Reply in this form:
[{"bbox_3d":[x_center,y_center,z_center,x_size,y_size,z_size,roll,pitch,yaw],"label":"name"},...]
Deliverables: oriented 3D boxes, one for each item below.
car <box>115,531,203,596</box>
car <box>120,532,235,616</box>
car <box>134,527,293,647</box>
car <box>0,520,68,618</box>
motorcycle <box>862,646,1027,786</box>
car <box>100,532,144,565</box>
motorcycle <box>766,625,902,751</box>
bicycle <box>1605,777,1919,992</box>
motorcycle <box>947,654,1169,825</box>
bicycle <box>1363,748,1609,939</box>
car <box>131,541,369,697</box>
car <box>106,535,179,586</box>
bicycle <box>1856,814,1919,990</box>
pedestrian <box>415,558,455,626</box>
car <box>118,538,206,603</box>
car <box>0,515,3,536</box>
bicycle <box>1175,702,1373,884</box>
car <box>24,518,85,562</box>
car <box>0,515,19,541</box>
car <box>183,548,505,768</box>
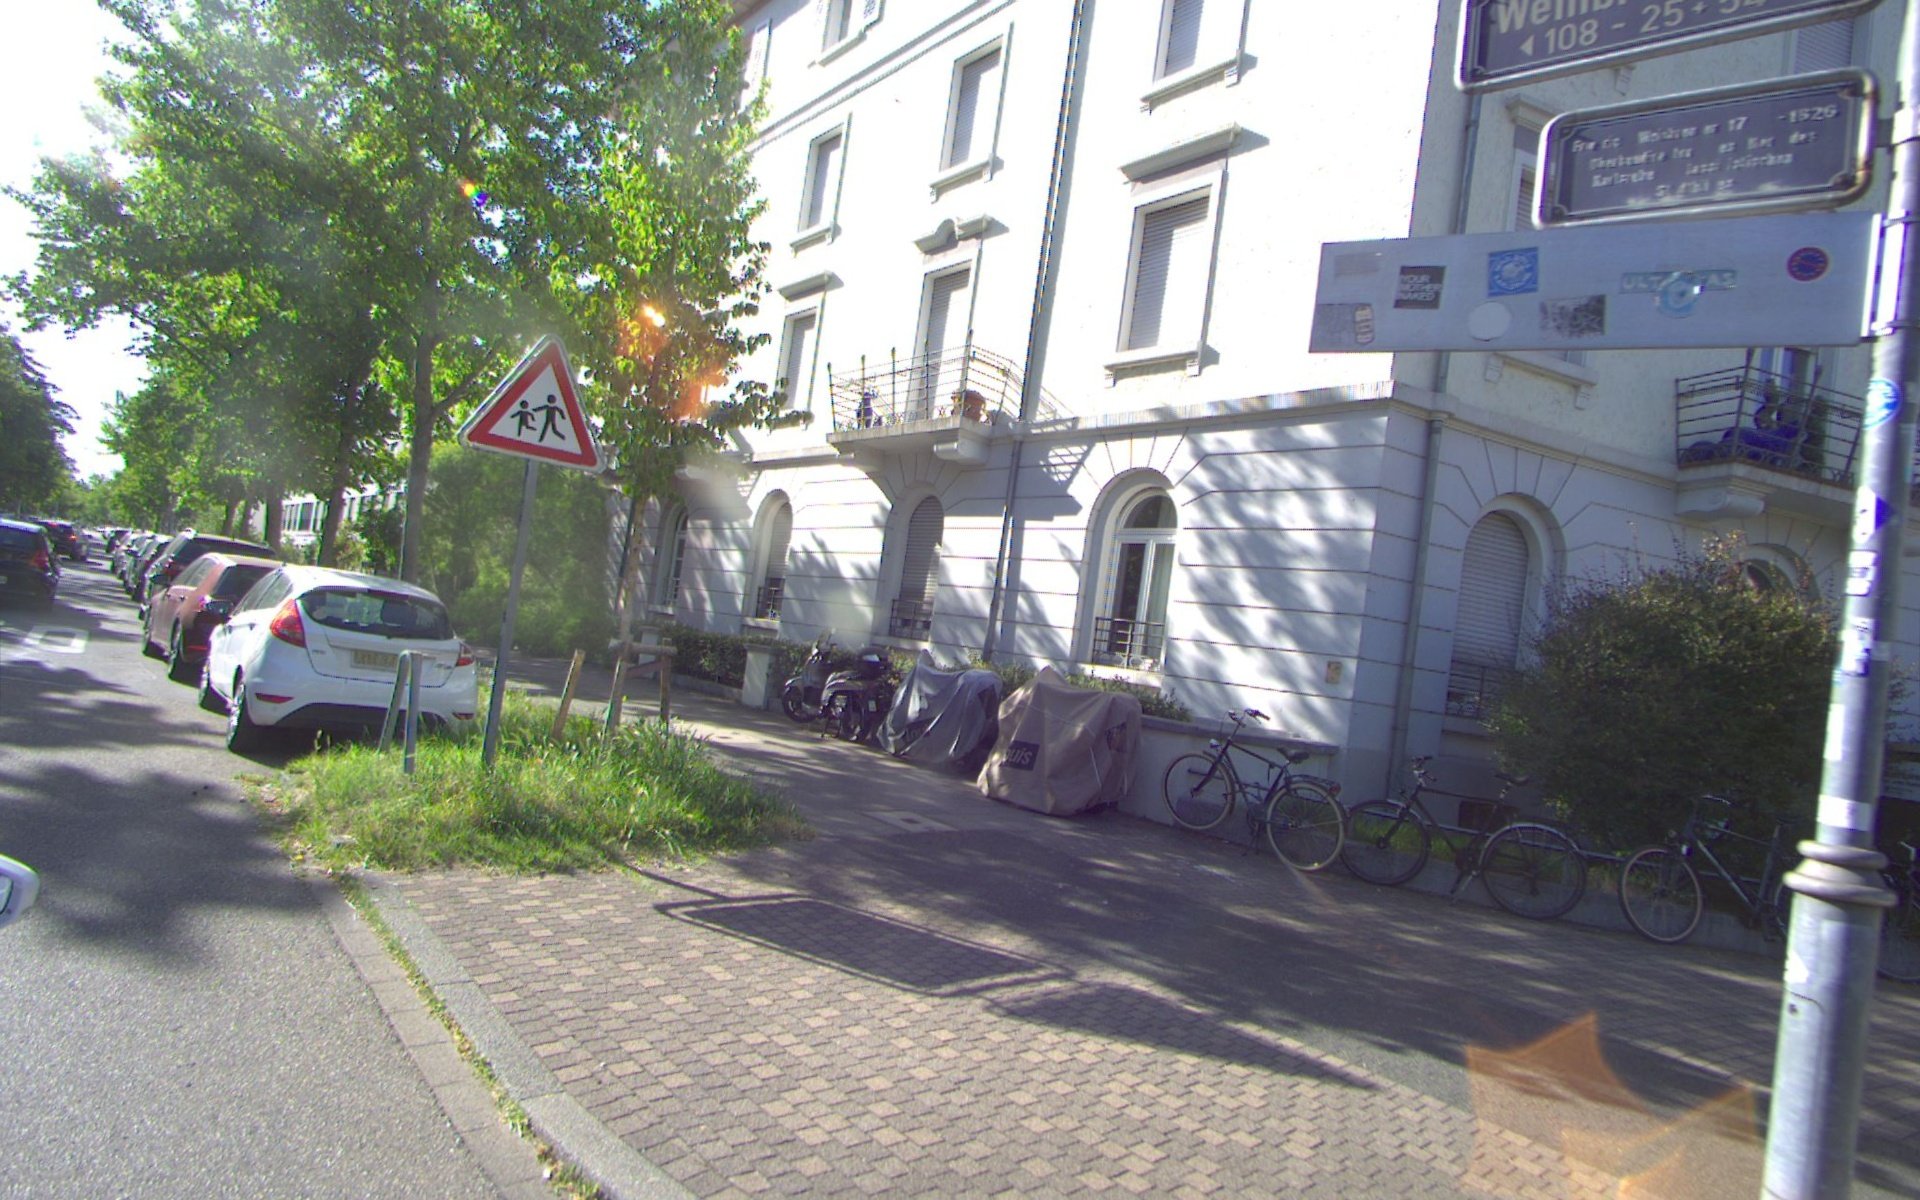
[{"bbox_3d":[-25.380,-1.187,31.815,1.646,1.673,3.799,11,-4,-44],"label":"car"},{"bbox_3d":[-19.428,-0.681,24.903,1.682,1.604,4.482,13,-6,-42],"label":"car"},{"bbox_3d":[-13.433,-0.291,17.990,1.776,1.717,4.248,10,-3,-41],"label":"car"},{"bbox_3d":[-16.130,-0.623,16.830,1.645,1.412,3.372,10,-3,-41],"label":"car"},{"bbox_3d":[-0.207,1.276,11.381,1.776,1.295,0.655,6,-1,43],"label":"motorcycle"},{"bbox_3d":[-52.638,-3.236,63.249,1.842,1.647,4.364,11,-5,-39],"label":"car"},{"bbox_3d":[-1.694,1.114,13.175,0.537,1.376,2.066,10,-3,-41],"label":"motorcycle"},{"bbox_3d":[5.744,2.013,7.231,1.746,1.161,0.445,8,-2,6],"label":"bicycle"},{"bbox_3d":[0.938,1.344,9.926,1.829,1.343,0.969,5,-4,44],"label":"motorcycle"},{"bbox_3d":[3.987,1.816,7.716,1.544,1.116,0.351,6,-2,28],"label":"bicycle"},{"bbox_3d":[-8.983,0.161,12.575,1.609,1.425,4.297,10,-4,-45],"label":"car"},{"bbox_3d":[-28.856,-1.406,35.493,1.645,1.444,3.569,10,-3,-43],"label":"car"},{"bbox_3d":[7.475,2.266,7.274,1.608,1.161,0.366,8,-2,-3],"label":"bicycle"},{"bbox_3d":[-14.743,-0.233,28.232,0.620,1.795,0.790,8,-2,-41],"label":"pedestrian"},{"bbox_3d":[-22.476,-0.865,28.269,1.624,1.441,4.319,9,-3,-41],"label":"car"},{"bbox_3d":[-59.102,-4.428,60.803,1.608,1.630,4.179,9,-3,-43],"label":"car"},{"bbox_3d":[2.626,1.587,8.522,1.483,1.252,0.325,5,-3,42],"label":"bicycle"},{"bbox_3d":[-36.977,-2.464,41.098,1.645,1.441,3.954,10,-3,-42],"label":"car"},{"bbox_3d":[-69.303,-5.247,72.664,1.607,1.698,4.185,9,-3,-42],"label":"car"},{"bbox_3d":[-5.719,0.415,9.085,1.648,1.417,4.088,10,-4,-41],"label":"car"}]
